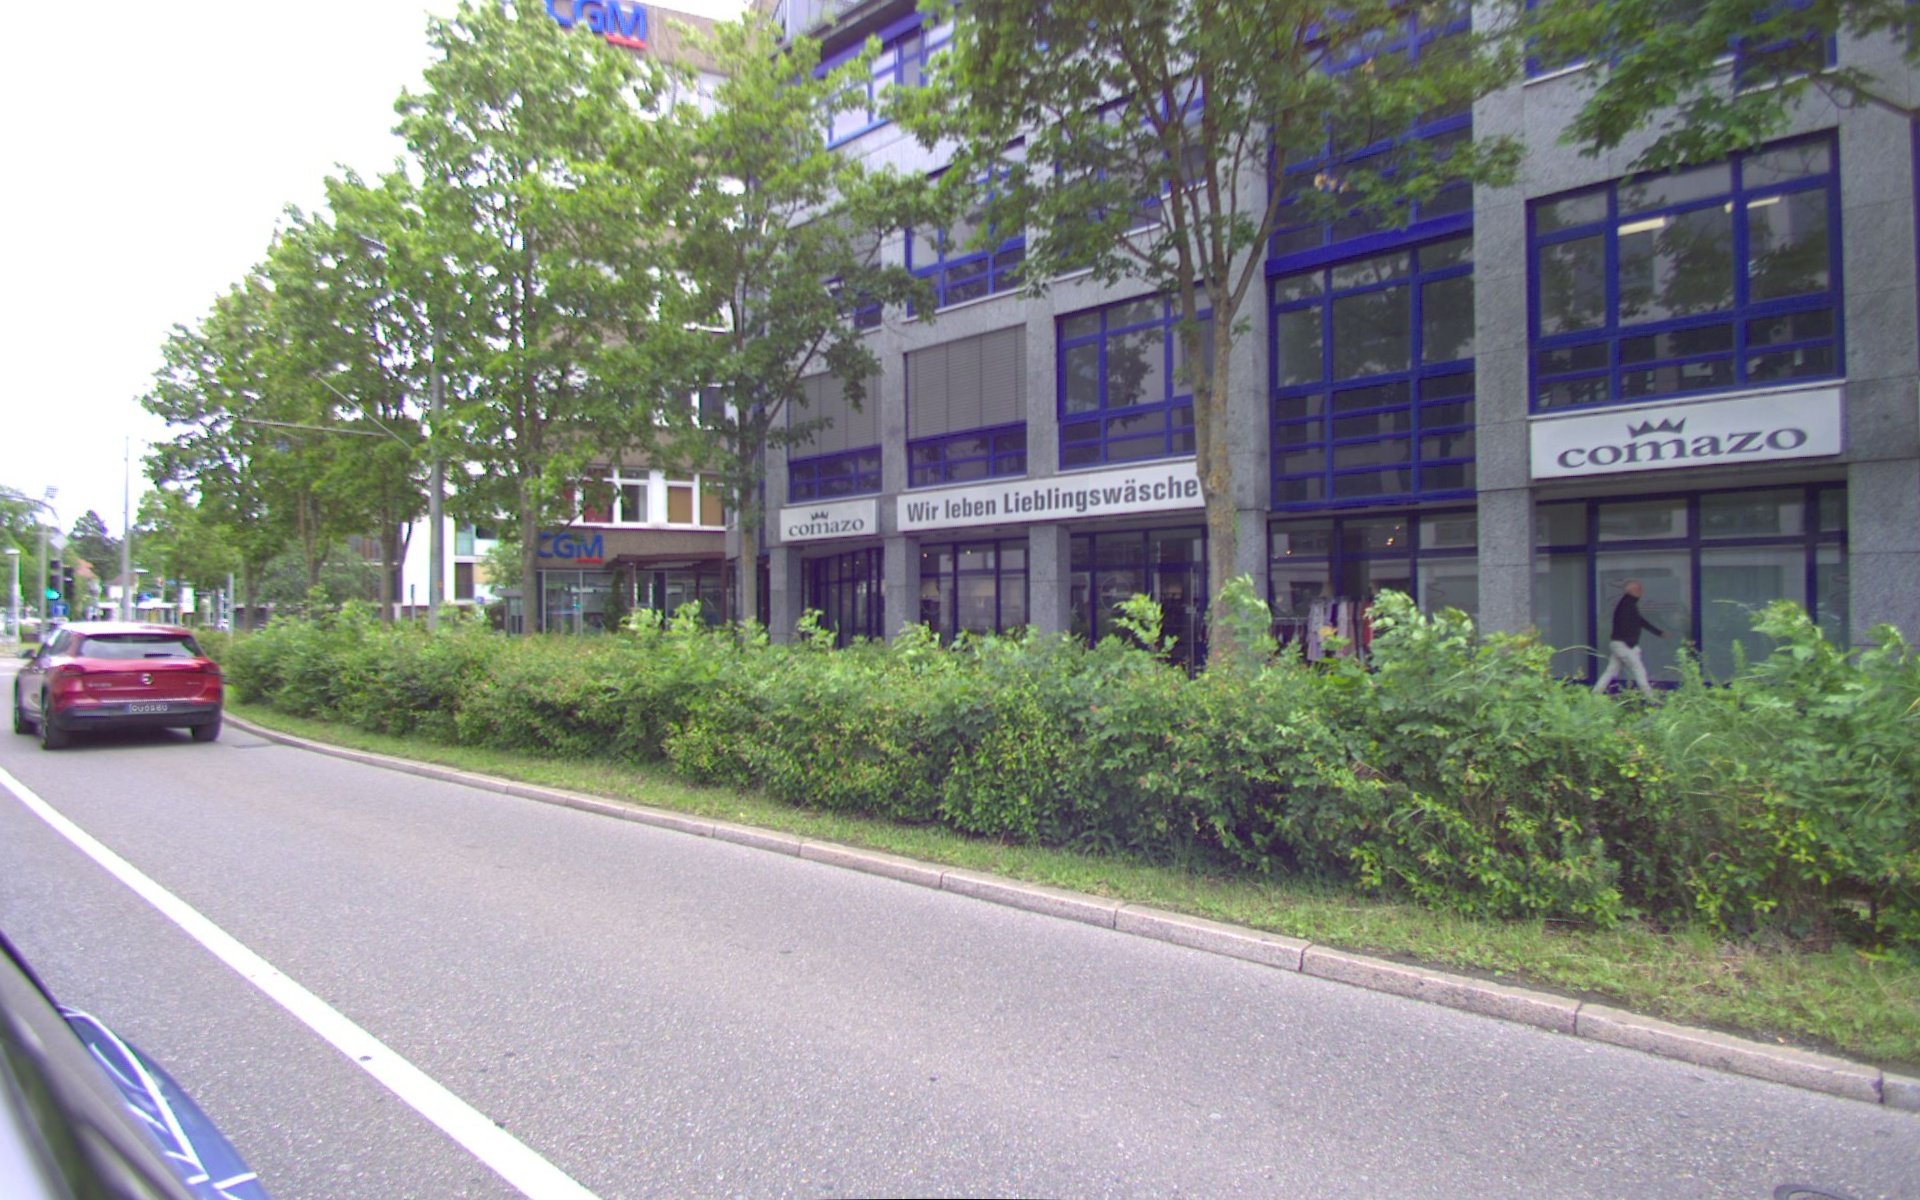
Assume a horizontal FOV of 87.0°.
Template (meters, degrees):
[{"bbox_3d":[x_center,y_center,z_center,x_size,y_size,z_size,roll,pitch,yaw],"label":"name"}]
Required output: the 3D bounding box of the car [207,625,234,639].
[{"bbox_3d":[-109.834,4.800,150.332,1.966,1.913,4.012,-1,0,-16],"label":"car"}]

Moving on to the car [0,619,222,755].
[{"bbox_3d":[-11.822,1.099,13.977,4.133,1.601,1.732,-2,-3,41],"label":"car"}]

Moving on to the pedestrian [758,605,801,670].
[{"bbox_3d":[-4.284,0.876,24.025,0.675,1.493,0.693,-2,0,26],"label":"pedestrian"}]

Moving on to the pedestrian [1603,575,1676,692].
[{"bbox_3d":[8.969,0.428,13.356,0.679,1.493,0.690,-2,0,41],"label":"pedestrian"}]
